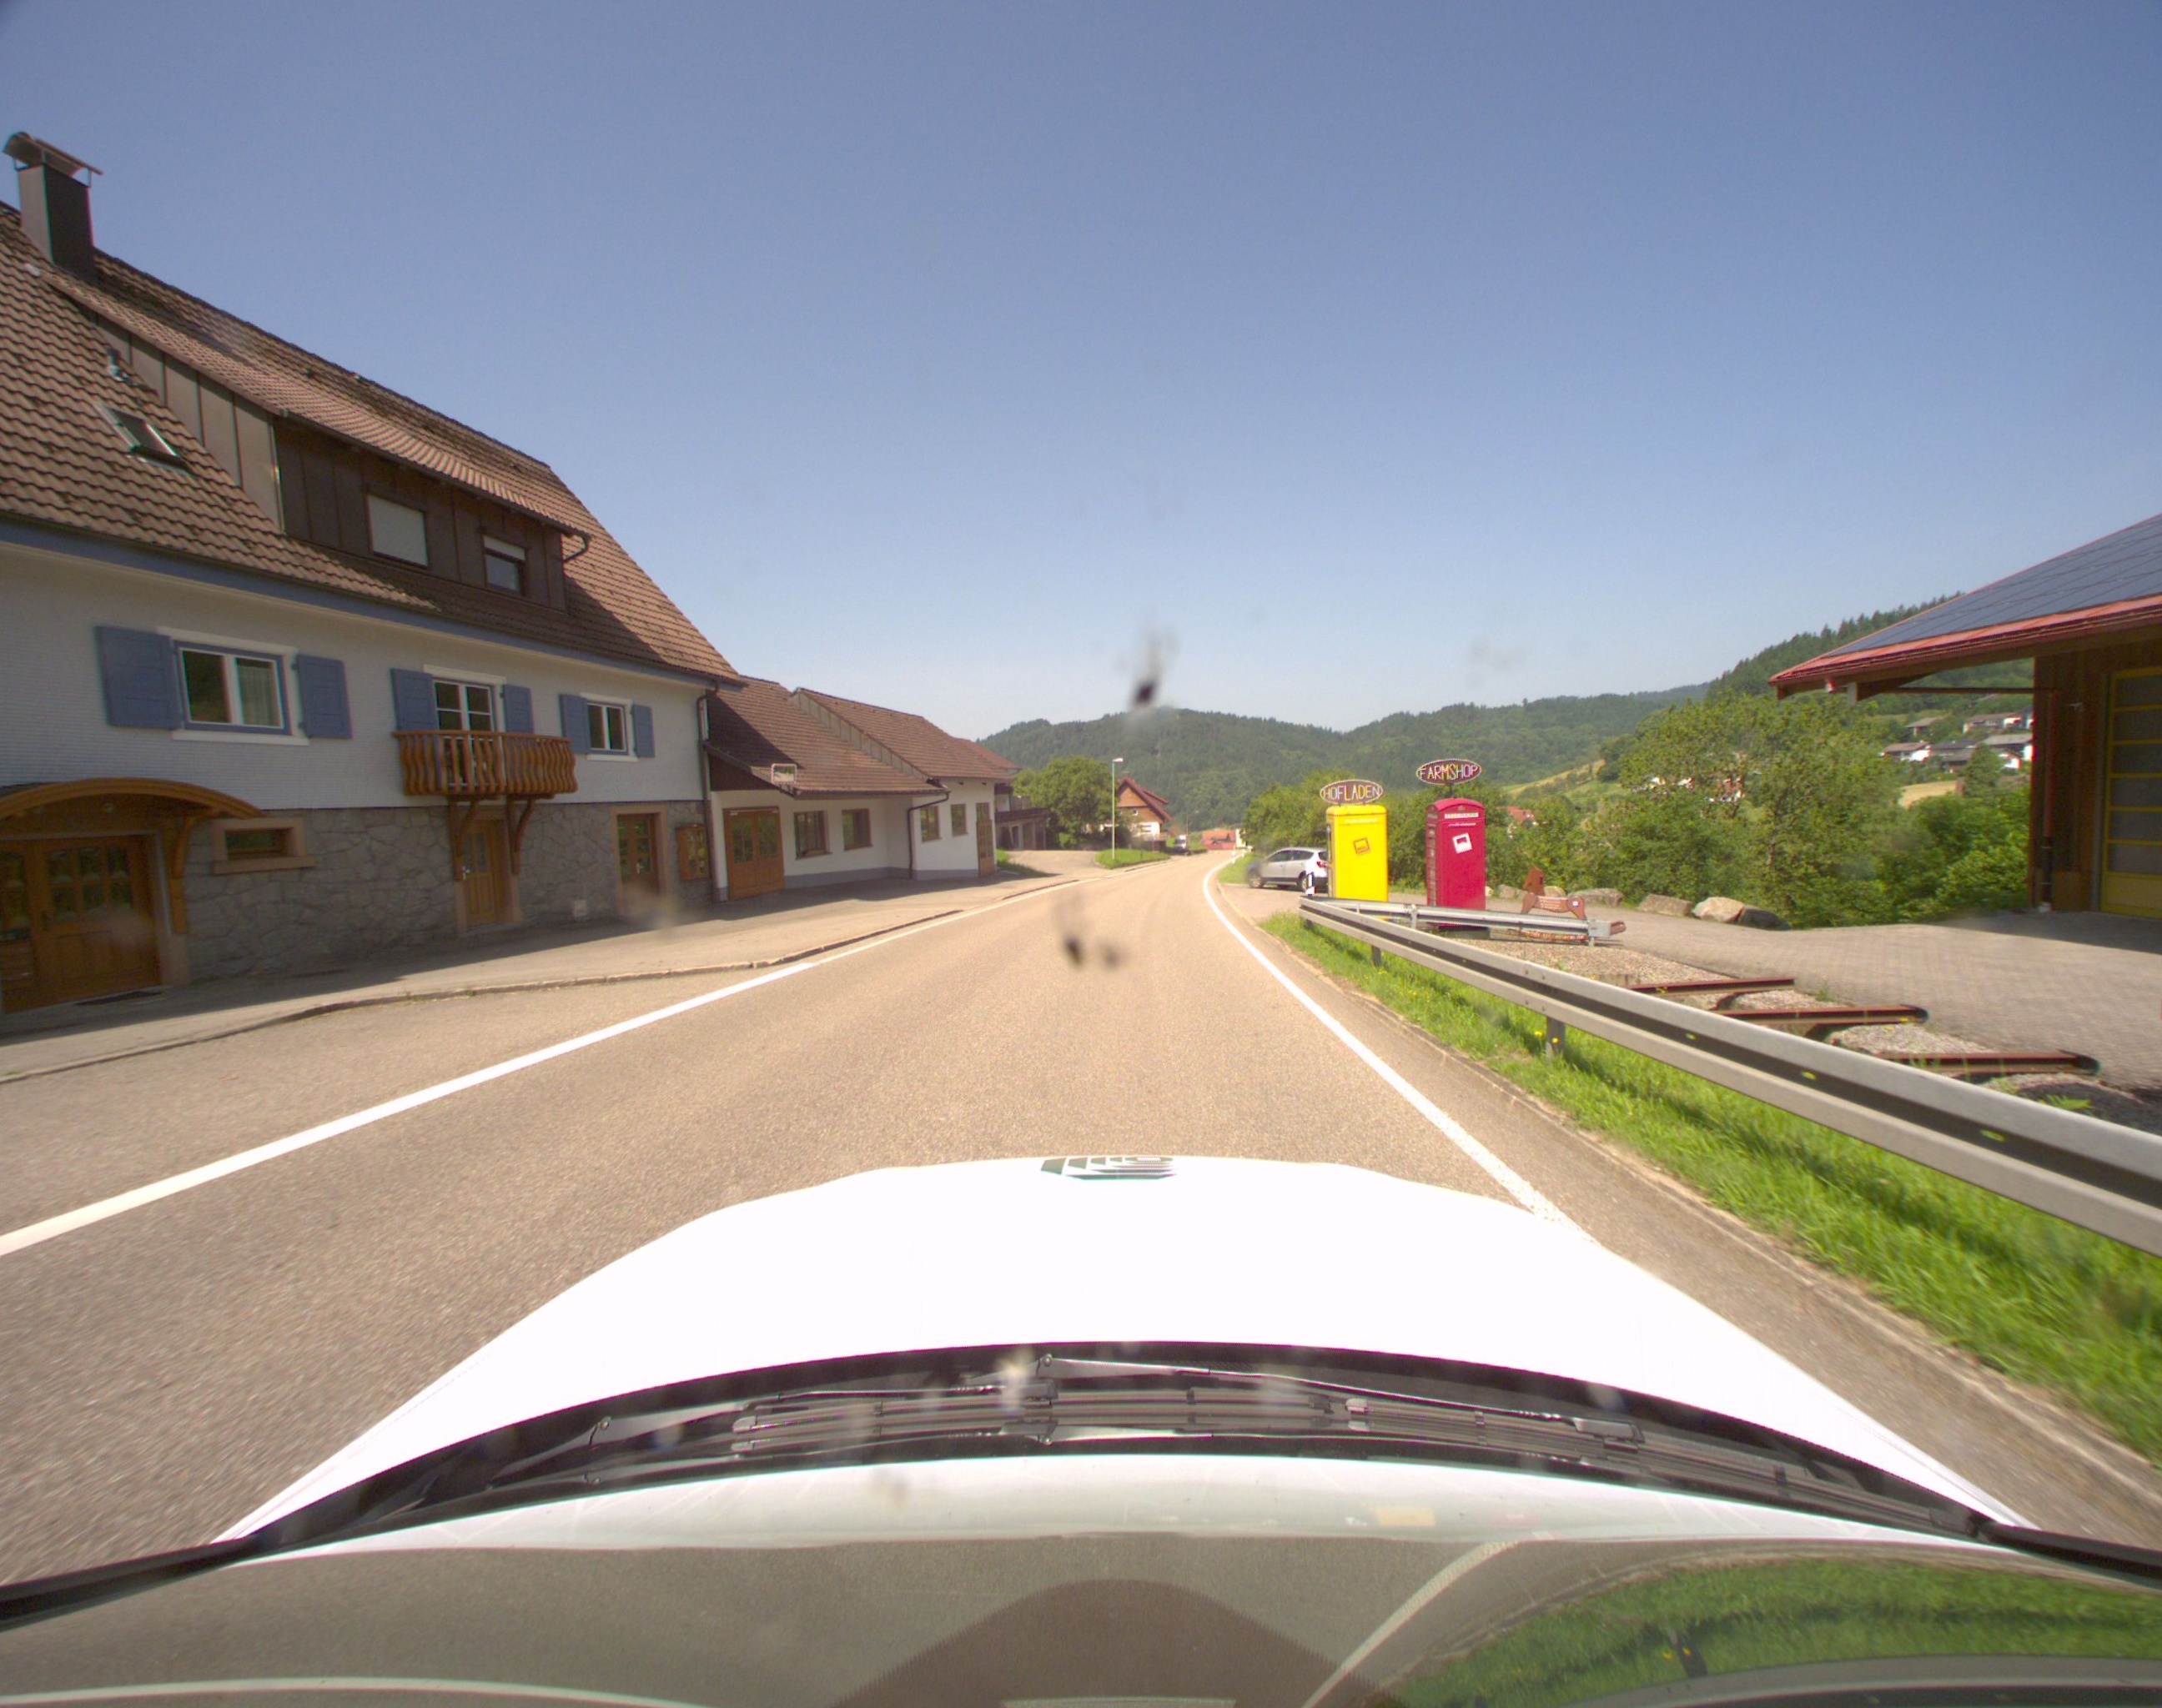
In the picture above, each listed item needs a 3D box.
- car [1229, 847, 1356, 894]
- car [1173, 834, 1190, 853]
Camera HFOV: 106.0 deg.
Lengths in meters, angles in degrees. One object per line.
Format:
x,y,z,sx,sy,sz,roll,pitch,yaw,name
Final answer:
7.710,0.540,30.083,1.912,1.571,4.417,-1,1,-33,car
16.201,-1.735,131.201,2.054,2.688,7.200,-2,3,12,car
